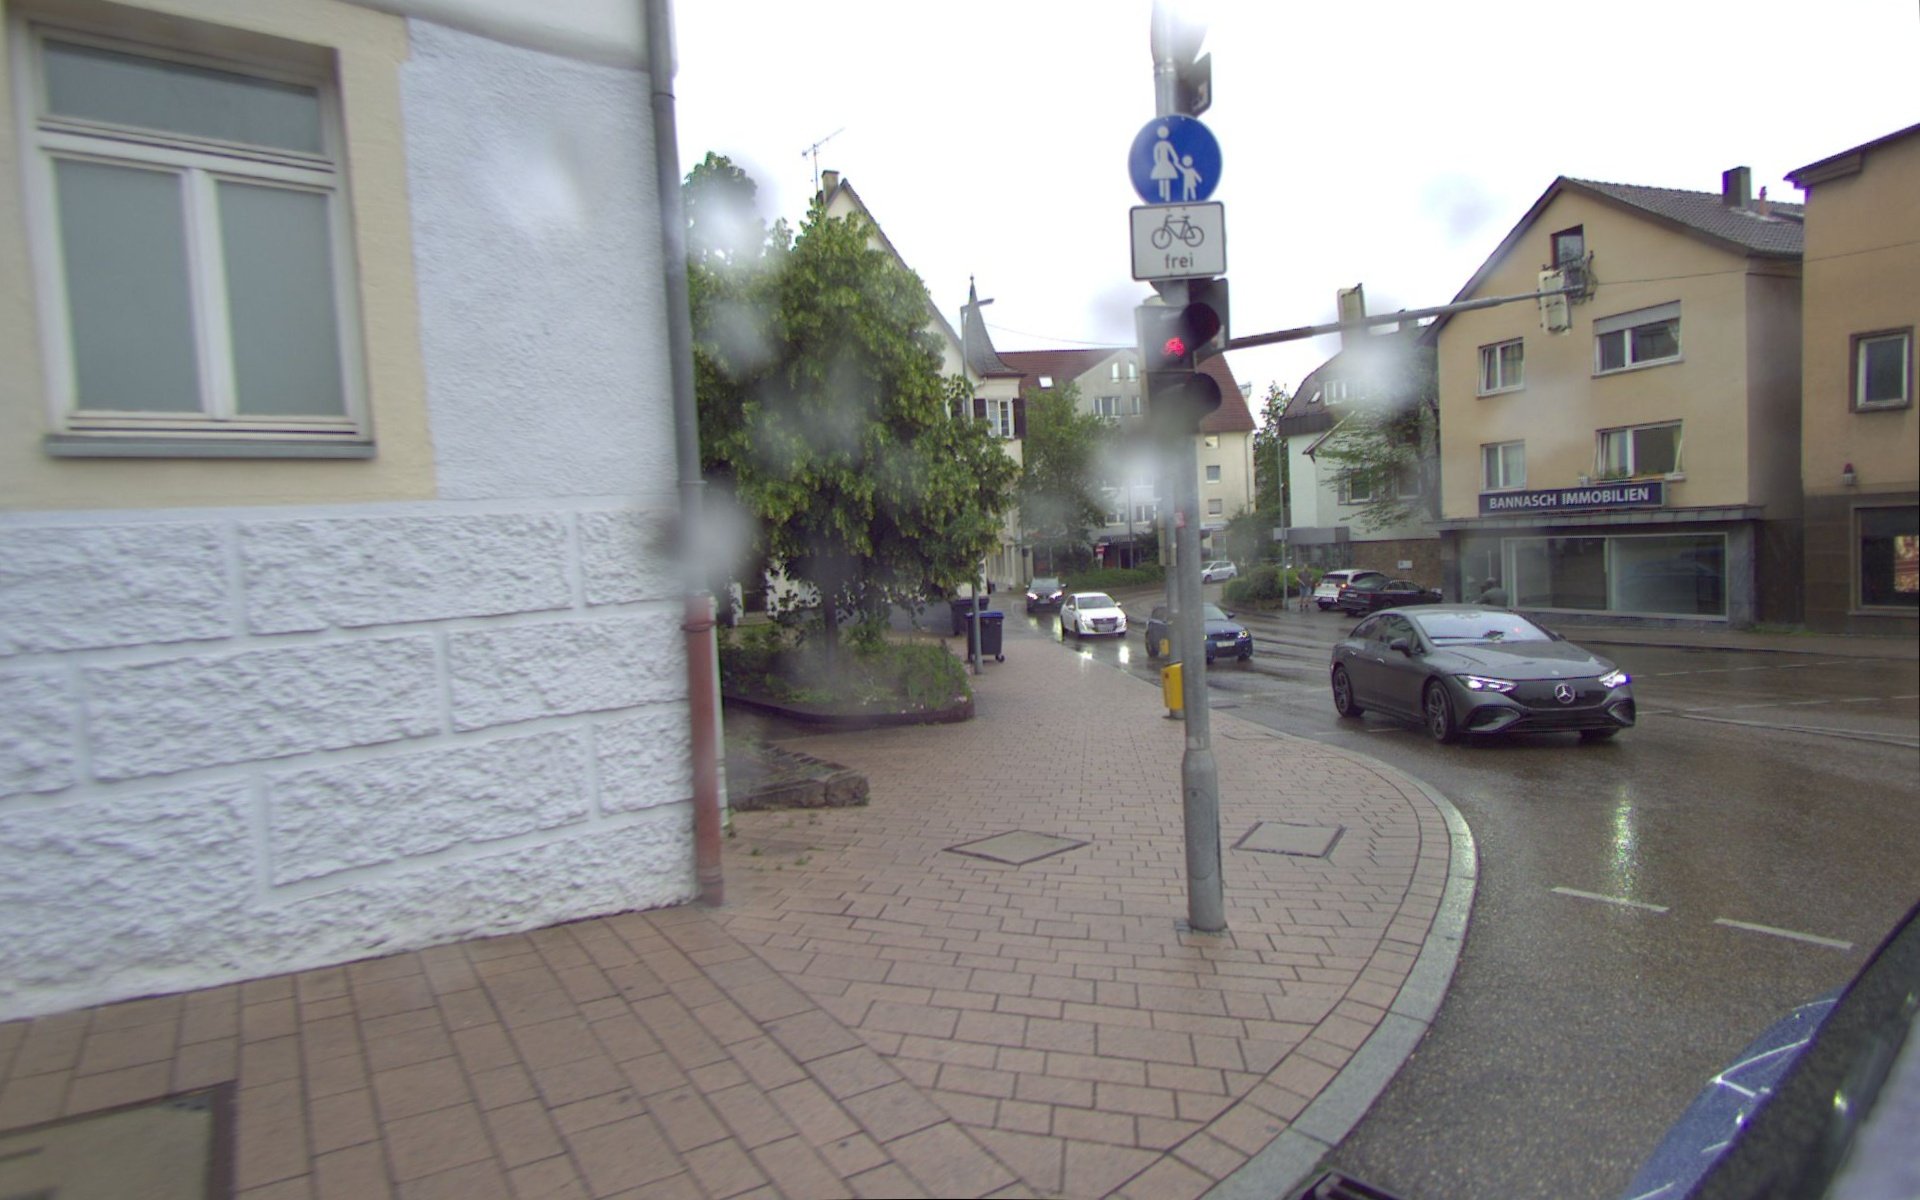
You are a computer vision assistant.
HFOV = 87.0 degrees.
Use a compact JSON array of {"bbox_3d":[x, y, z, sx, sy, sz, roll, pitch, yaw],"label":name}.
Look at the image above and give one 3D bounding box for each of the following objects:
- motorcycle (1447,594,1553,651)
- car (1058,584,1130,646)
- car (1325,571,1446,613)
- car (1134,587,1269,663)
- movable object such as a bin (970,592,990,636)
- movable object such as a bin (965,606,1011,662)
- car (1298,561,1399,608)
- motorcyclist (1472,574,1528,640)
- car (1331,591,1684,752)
[{"bbox_3d":[11.714,0.459,22.013,0.756,1.145,1.919,-3,2,-29],"label":"motorcycle"},{"bbox_3d":[4.637,0.473,35.473,1.779,1.582,4.008,-2,7,-2],"label":"car"},{"bbox_3d":[15.683,-0.282,37.333,3.916,1.472,1.903,0,0,-22],"label":"car"},{"bbox_3d":[6.047,0.552,25.900,1.739,1.551,4.387,-3,3,-9],"label":"car"},{"bbox_3d":[0.677,0.477,34.105,0.405,1.460,0.645,0,0,-29],"label":"movable object such as a bin"},{"bbox_3d":[0.724,0.873,26.598,1.137,1.329,1.187,-3,2,1],"label":"movable object such as a bin"},{"bbox_3d":[15.640,-0.653,40.704,3.576,1.648,2.002,-5,3,-32],"label":"car"},{"bbox_3d":[11.719,0.148,21.970,0.795,1.370,0.669,-5,1,-28],"label":"motorcyclist"},{"bbox_3d":[6.270,0.701,12.300,1.963,1.512,4.312,-3,0,2],"label":"car"}]
